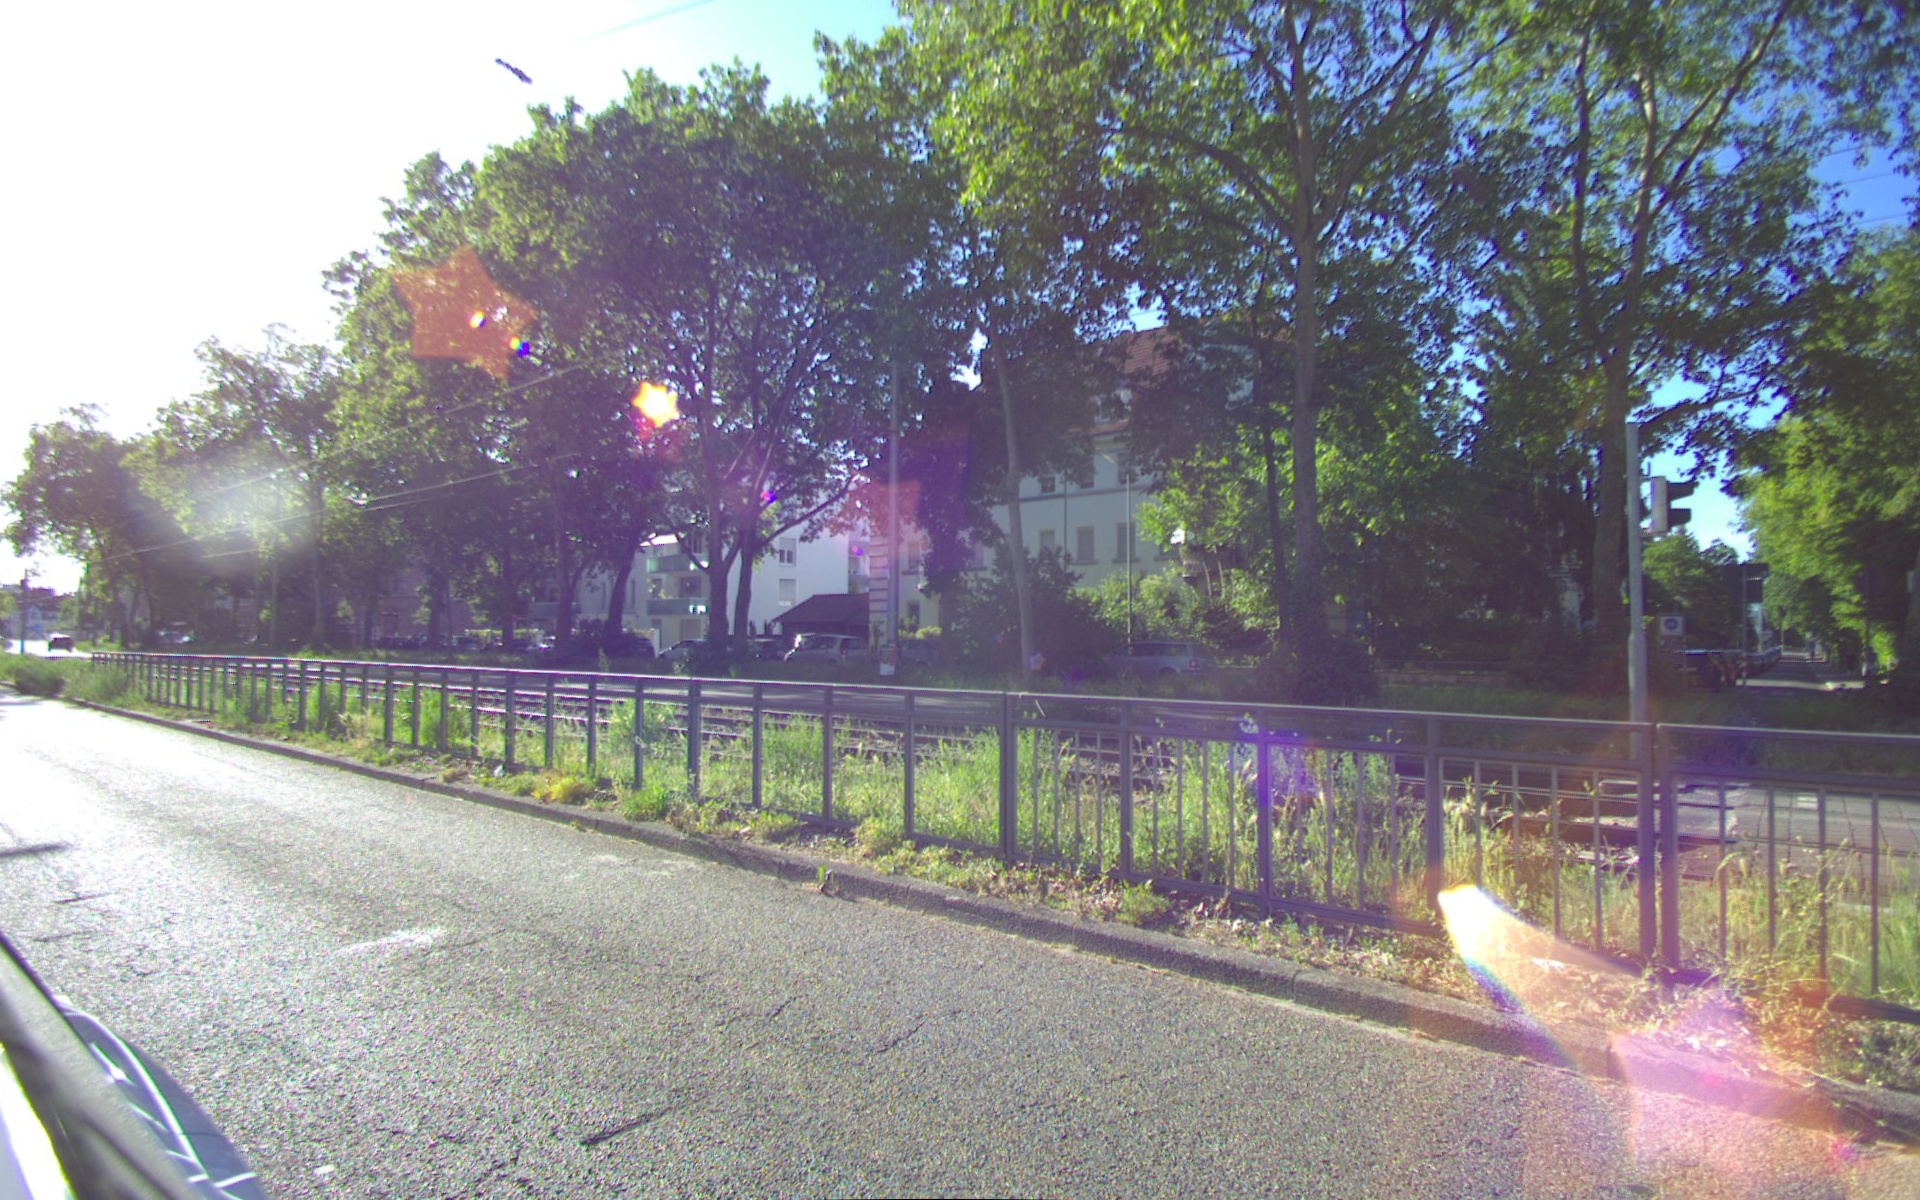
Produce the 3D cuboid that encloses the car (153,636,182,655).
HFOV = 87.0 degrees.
[{"bbox_3d":[-84.494,4.817,107.877,1.970,2.029,4.002,2,-3,-44],"label":"car"}]

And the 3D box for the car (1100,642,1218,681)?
[{"bbox_3d":[6.042,1.853,30.879,3.213,1.125,1.458,-2,-3,38],"label":"car"}]

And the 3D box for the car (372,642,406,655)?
[{"bbox_3d":[-39.602,3.348,70.169,3.058,0.883,1.094,-2,-3,41],"label":"car"}]

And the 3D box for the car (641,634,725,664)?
[{"bbox_3d":[-13.090,2.321,47.633,4.459,1.334,1.623,-2,-5,42],"label":"car"}]

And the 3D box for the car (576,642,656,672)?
[{"bbox_3d":[-17.465,2.861,51.357,4.317,1.464,1.972,-2,-3,42],"label":"car"}]

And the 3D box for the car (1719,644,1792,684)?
[{"bbox_3d":[31.369,2.490,39.873,1.999,1.429,3.945,-2,-3,41],"label":"car"}]

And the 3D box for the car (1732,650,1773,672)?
[{"bbox_3d":[42.525,3.253,54.276,1.531,1.127,3.083,-2,-3,41],"label":"car"}]

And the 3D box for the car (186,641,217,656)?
[{"bbox_3d":[-75.938,4.828,101.297,3.687,1.497,1.748,-2,-3,42],"label":"car"}]

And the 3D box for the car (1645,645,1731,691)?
[{"bbox_3d":[24.973,2.281,34.669,1.999,1.429,3.945,-2,-3,41],"label":"car"}]

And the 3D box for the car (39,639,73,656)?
[{"bbox_3d":[-90.158,4.747,100.916,4.456,1.660,1.838,-2,-3,40],"label":"car"}]

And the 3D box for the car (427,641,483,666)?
[{"bbox_3d":[-31.828,3.341,63.749,3.998,1.484,1.778,-2,-3,42],"label":"car"}]

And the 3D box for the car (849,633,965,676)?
[{"bbox_3d":[-2.010,2.000,37.818,4.316,1.452,1.766,-1,-1,41],"label":"car"}]

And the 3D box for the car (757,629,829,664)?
[{"bbox_3d":[-9.182,2.539,55.512,3.818,1.874,1.830,-2,-3,40],"label":"car"}]

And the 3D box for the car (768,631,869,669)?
[{"bbox_3d":[-5.793,2.023,41.098,4.317,1.451,1.717,-2,-3,42],"label":"car"}]
